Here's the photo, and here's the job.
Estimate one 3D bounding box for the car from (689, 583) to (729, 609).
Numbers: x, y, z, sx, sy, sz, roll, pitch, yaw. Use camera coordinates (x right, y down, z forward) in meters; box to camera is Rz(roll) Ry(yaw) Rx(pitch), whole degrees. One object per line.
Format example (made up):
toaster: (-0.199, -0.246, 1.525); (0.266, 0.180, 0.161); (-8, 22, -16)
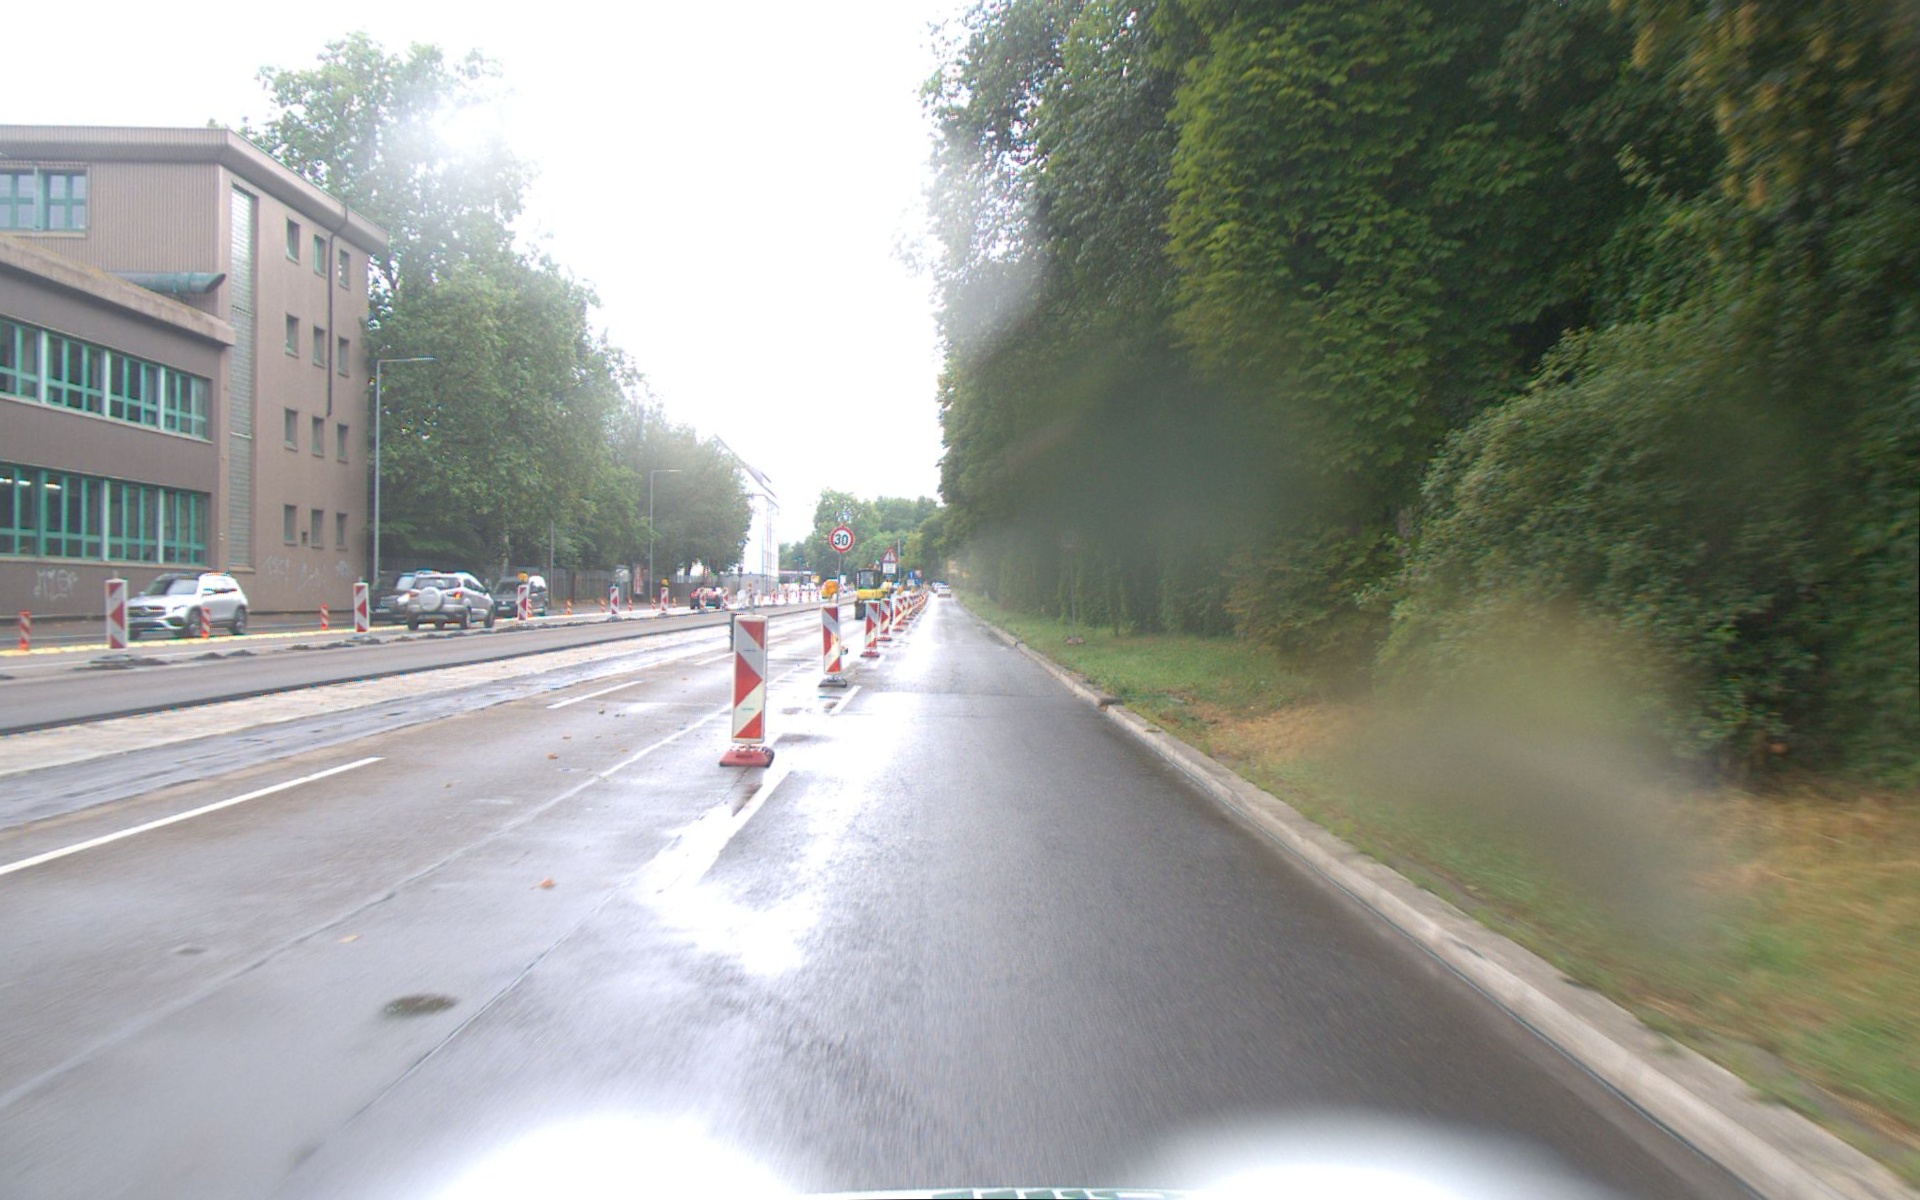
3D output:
car: (-15.626, -0.232, 103.094); (1.953, 1.545, 3.999); (1, 0, -1)

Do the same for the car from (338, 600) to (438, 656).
car: (-21.261, 0.992, 61.699); (1.953, 1.952, 5.362); (1, 0, -2)

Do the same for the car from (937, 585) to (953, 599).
car: (-1.934, -1.053, 215.240); (1.953, 1.702, 3.999); (1, 0, -1)

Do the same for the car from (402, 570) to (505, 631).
car: (-14.863, 0.024, 48.743); (1.817, 1.677, 3.999); (1, 0, -1)

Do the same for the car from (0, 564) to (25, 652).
car: (-17.697, 0.119, 27.319); (1.855, 1.528, 4.516); (1, 0, 1)

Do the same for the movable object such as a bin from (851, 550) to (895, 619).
movable object such as a bin: (-4.518, -0.758, 86.408); (1.953, 3.426, 5.981); (1, 0, -1)

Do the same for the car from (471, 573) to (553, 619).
car: (-18.795, -0.172, 69.617); (1.952, 1.811, 4.955); (1, 0, 1)

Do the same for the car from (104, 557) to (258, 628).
car: (-20.740, -0.192, 44.285); (1.899, 1.736, 4.933); (1, 0, -2)
